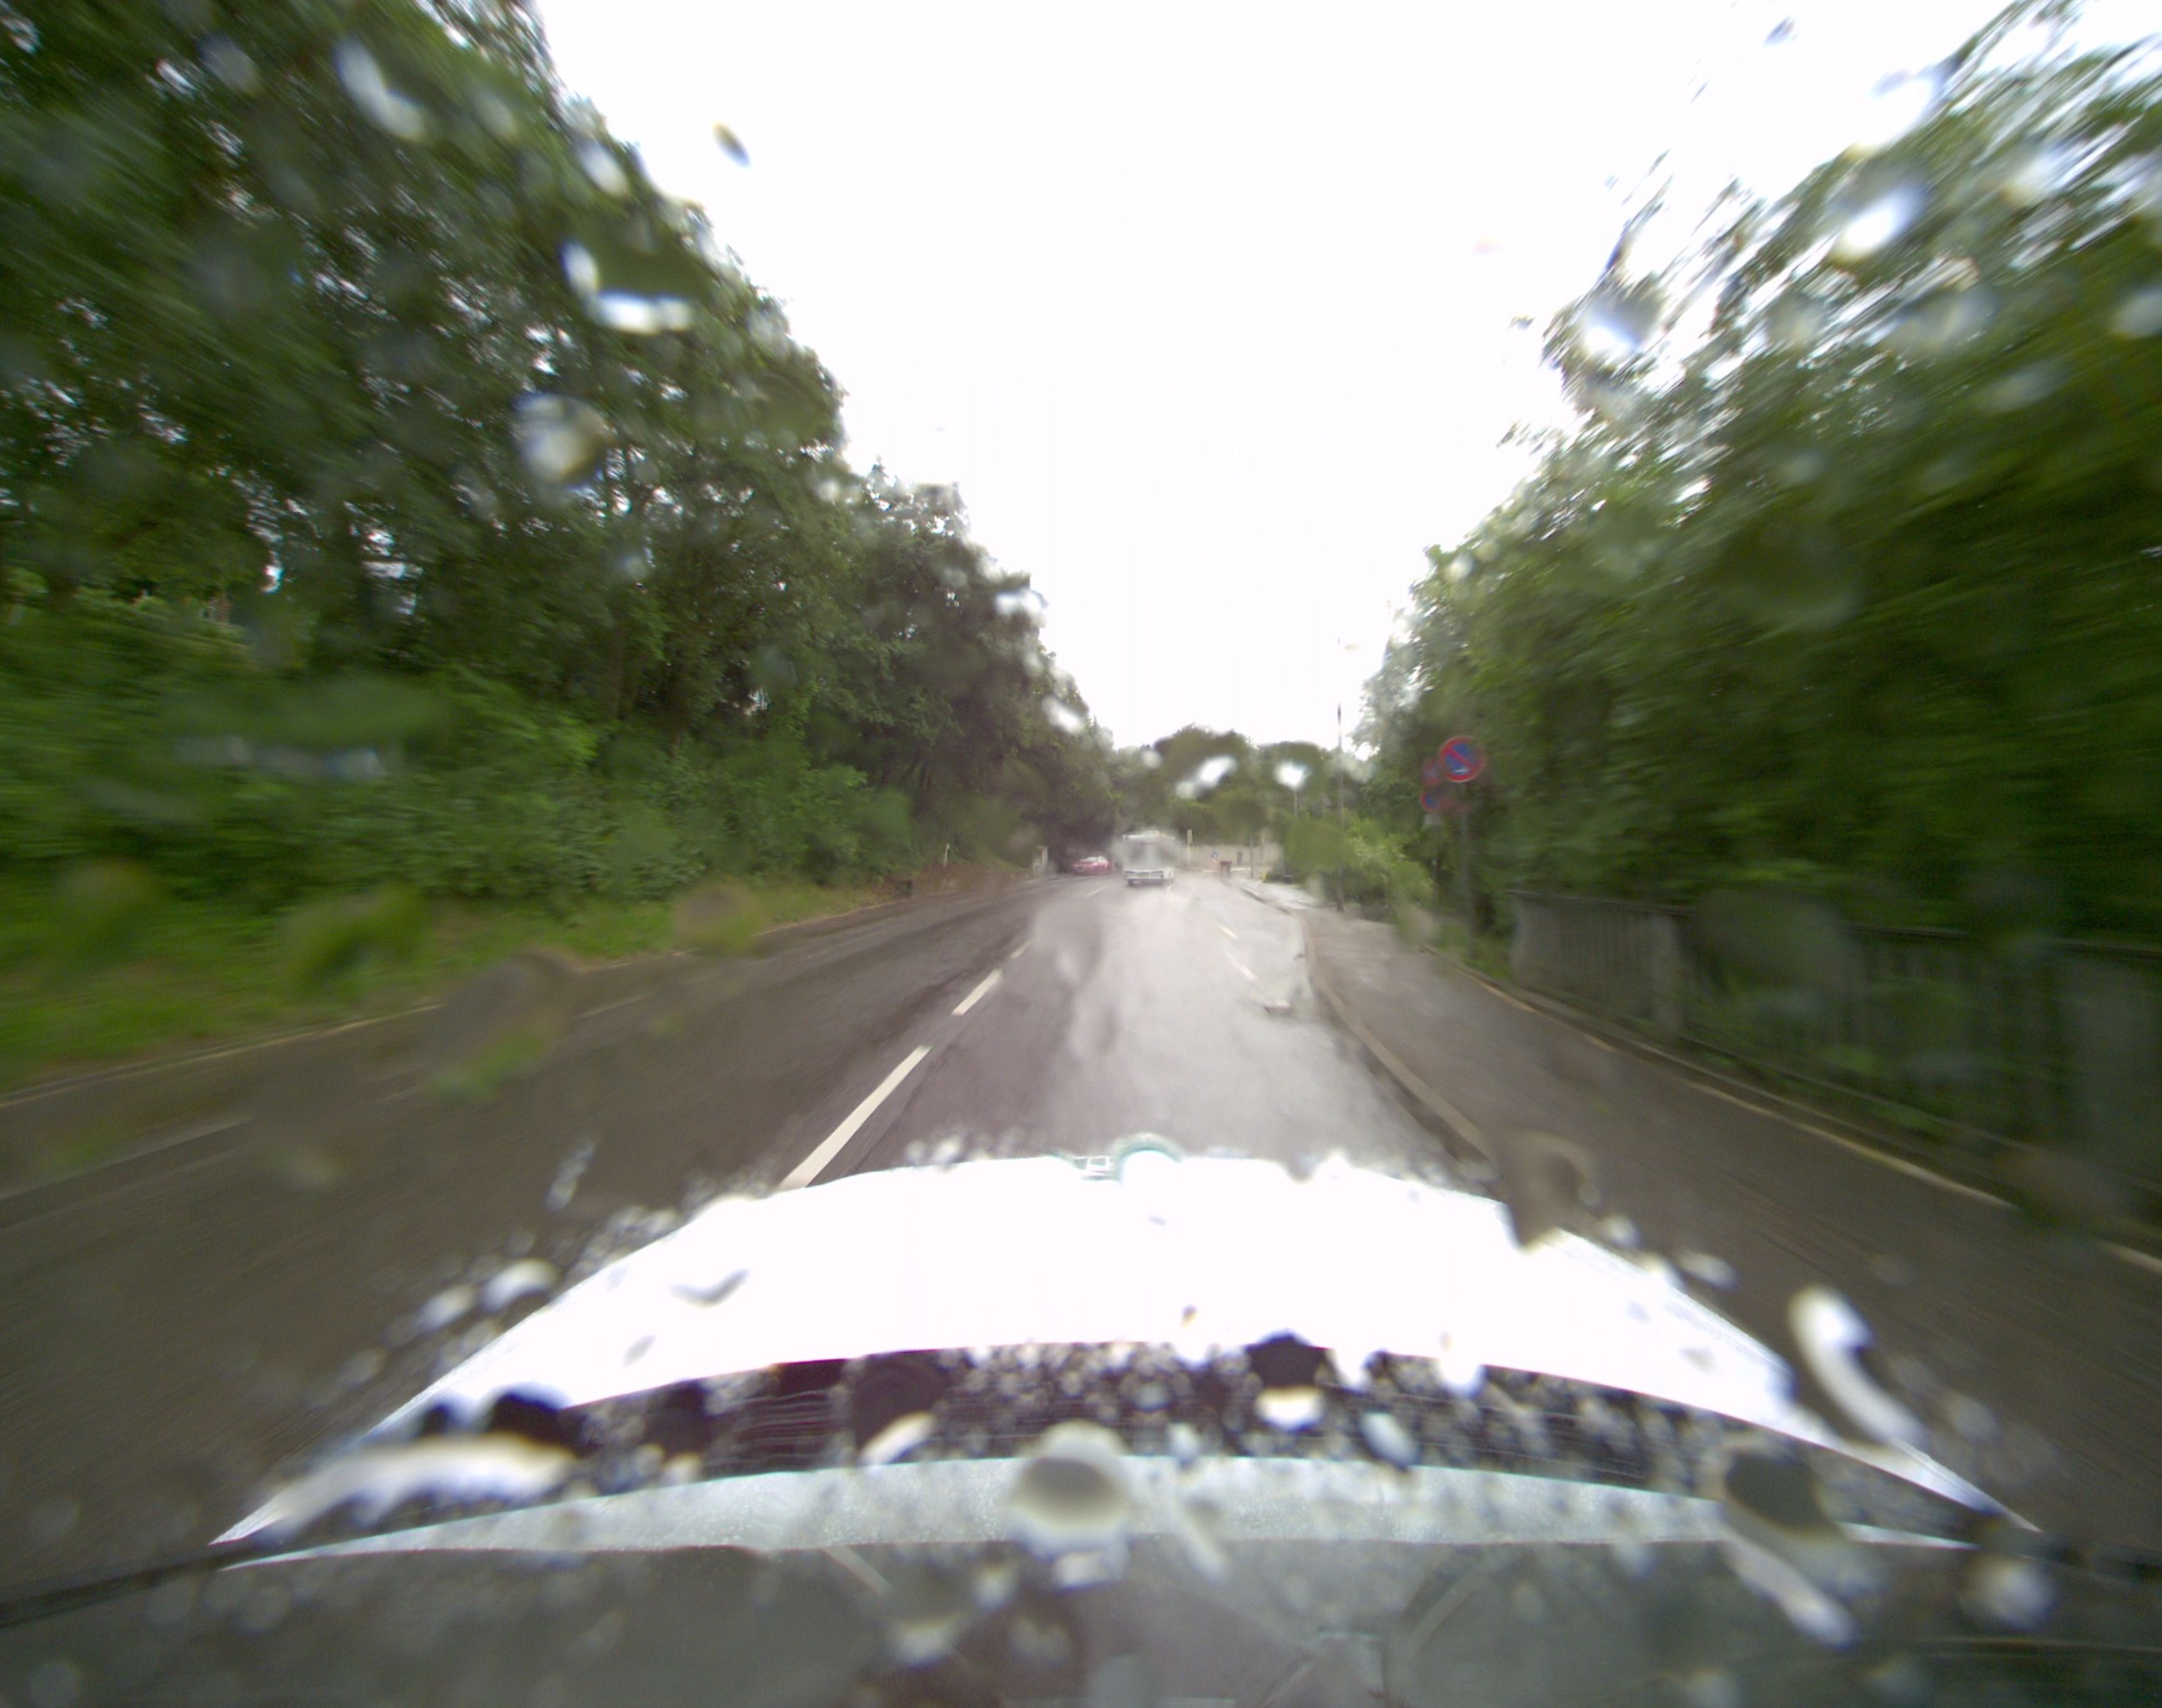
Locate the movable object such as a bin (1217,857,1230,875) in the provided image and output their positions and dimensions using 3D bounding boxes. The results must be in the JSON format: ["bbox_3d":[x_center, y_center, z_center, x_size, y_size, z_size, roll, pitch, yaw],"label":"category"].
[{"bbox_3d":[9.220,0.750,52.683,0.772,1.133,0.740,0,0,11],"label":"movable object such as a bin"}]

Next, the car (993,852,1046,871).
[{"bbox_3d":[-5.102,0.648,67.818,3.953,1.503,1.888,-1,0,20],"label":"car"}]

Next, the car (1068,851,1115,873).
[{"bbox_3d":[0.842,0.591,61.460,1.977,1.561,4.677,0,1,21],"label":"car"}]

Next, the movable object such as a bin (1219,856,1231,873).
[{"bbox_3d":[9.512,0.683,53.897,0.772,1.133,0.740,0,0,11],"label":"movable object such as a bin"}]

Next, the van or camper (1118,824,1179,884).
[{"bbox_3d":[3.837,0.026,45.039,2.524,2.925,5.966,-4,-1,11],"label":"van or camper"}]
